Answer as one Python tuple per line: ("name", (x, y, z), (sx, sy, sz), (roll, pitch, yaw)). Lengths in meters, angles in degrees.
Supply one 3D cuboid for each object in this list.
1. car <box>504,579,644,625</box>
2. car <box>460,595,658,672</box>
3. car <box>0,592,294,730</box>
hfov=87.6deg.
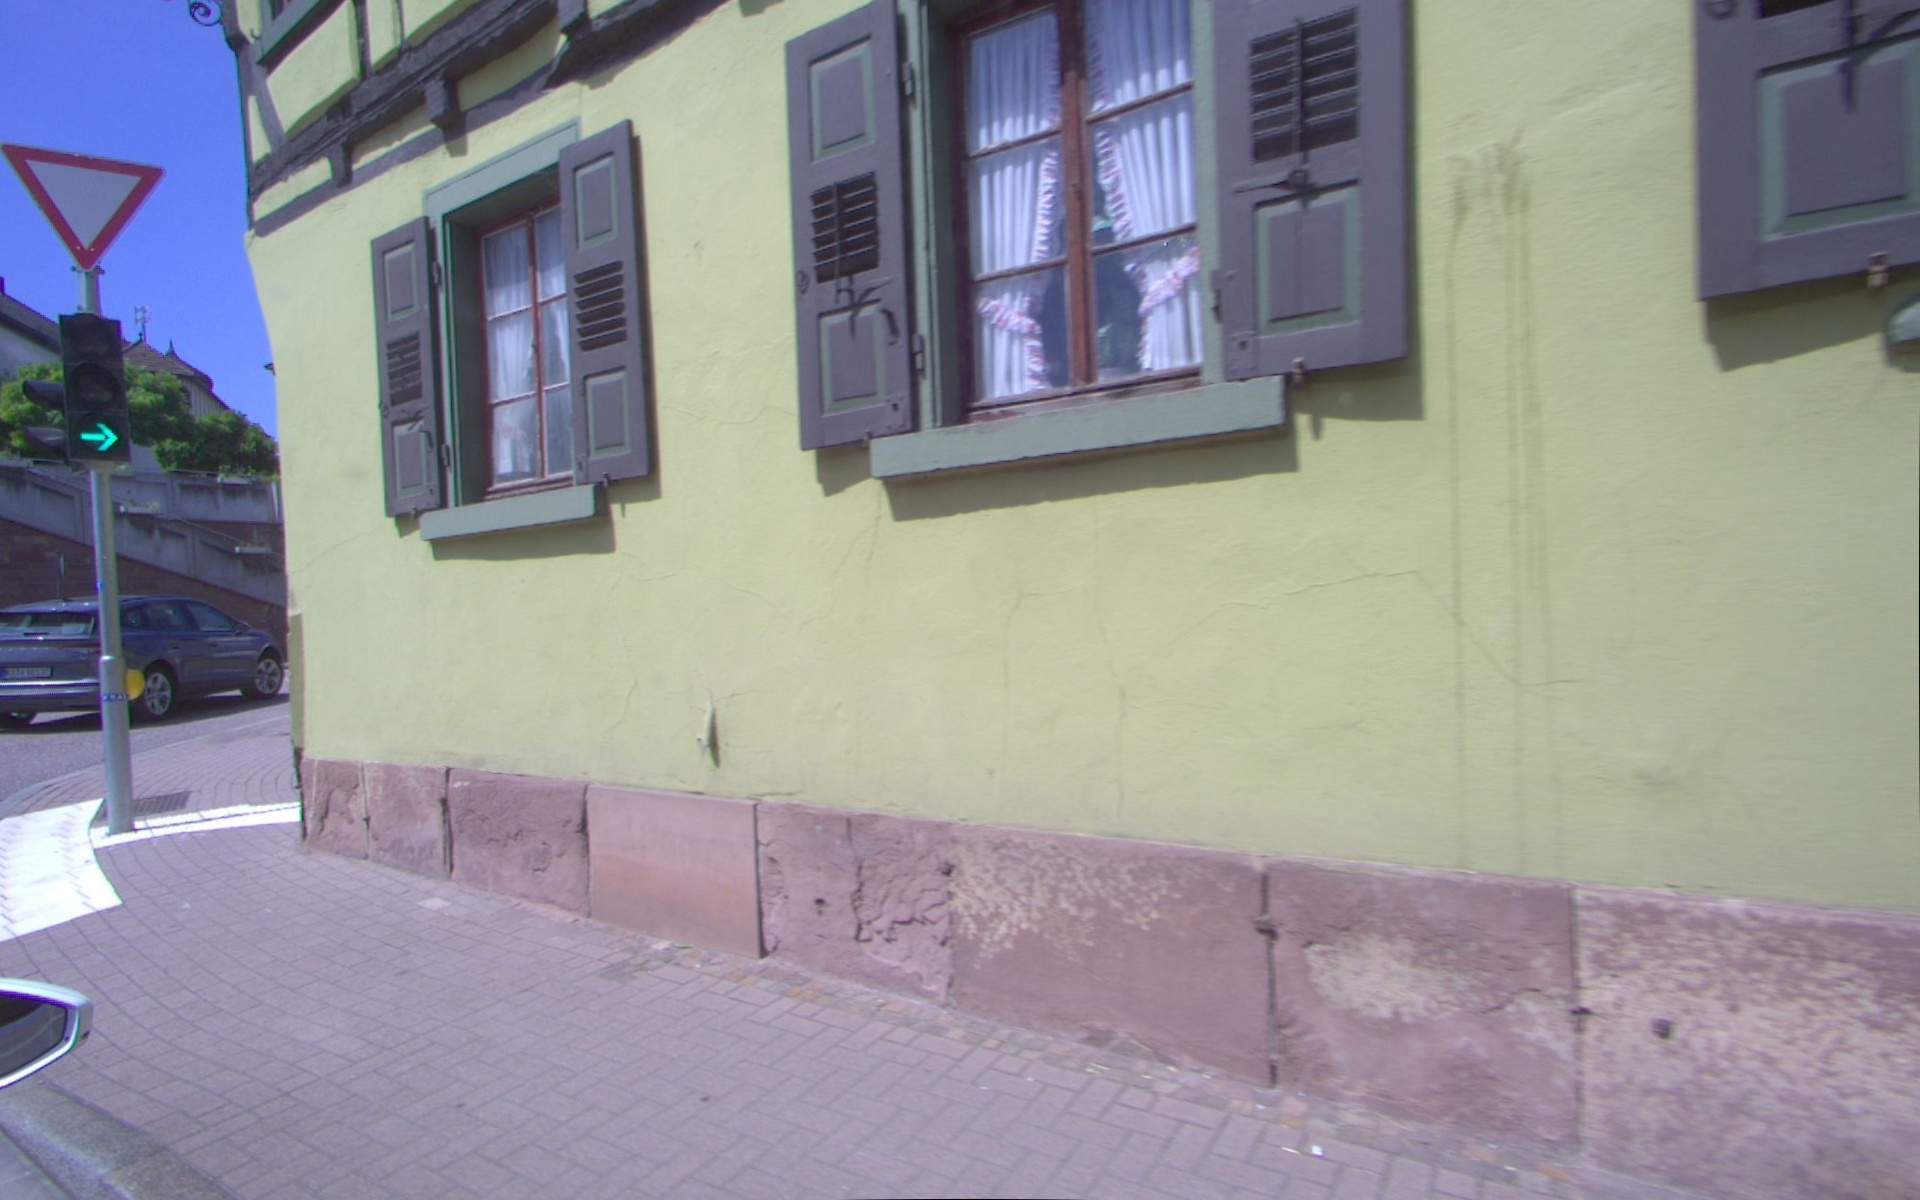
("car", (-19.053, 0.045, 49.643), (2.497, 2.040, 5.945), (-3, 0, 41))
("car", (-8.430, 0.663, 21.439), (1.758, 1.477, 3.853), (-1, 0, 21))
("car", (-11.349, 0.707, 13.824), (1.918, 1.603, 4.322), (0, 0, -9))
